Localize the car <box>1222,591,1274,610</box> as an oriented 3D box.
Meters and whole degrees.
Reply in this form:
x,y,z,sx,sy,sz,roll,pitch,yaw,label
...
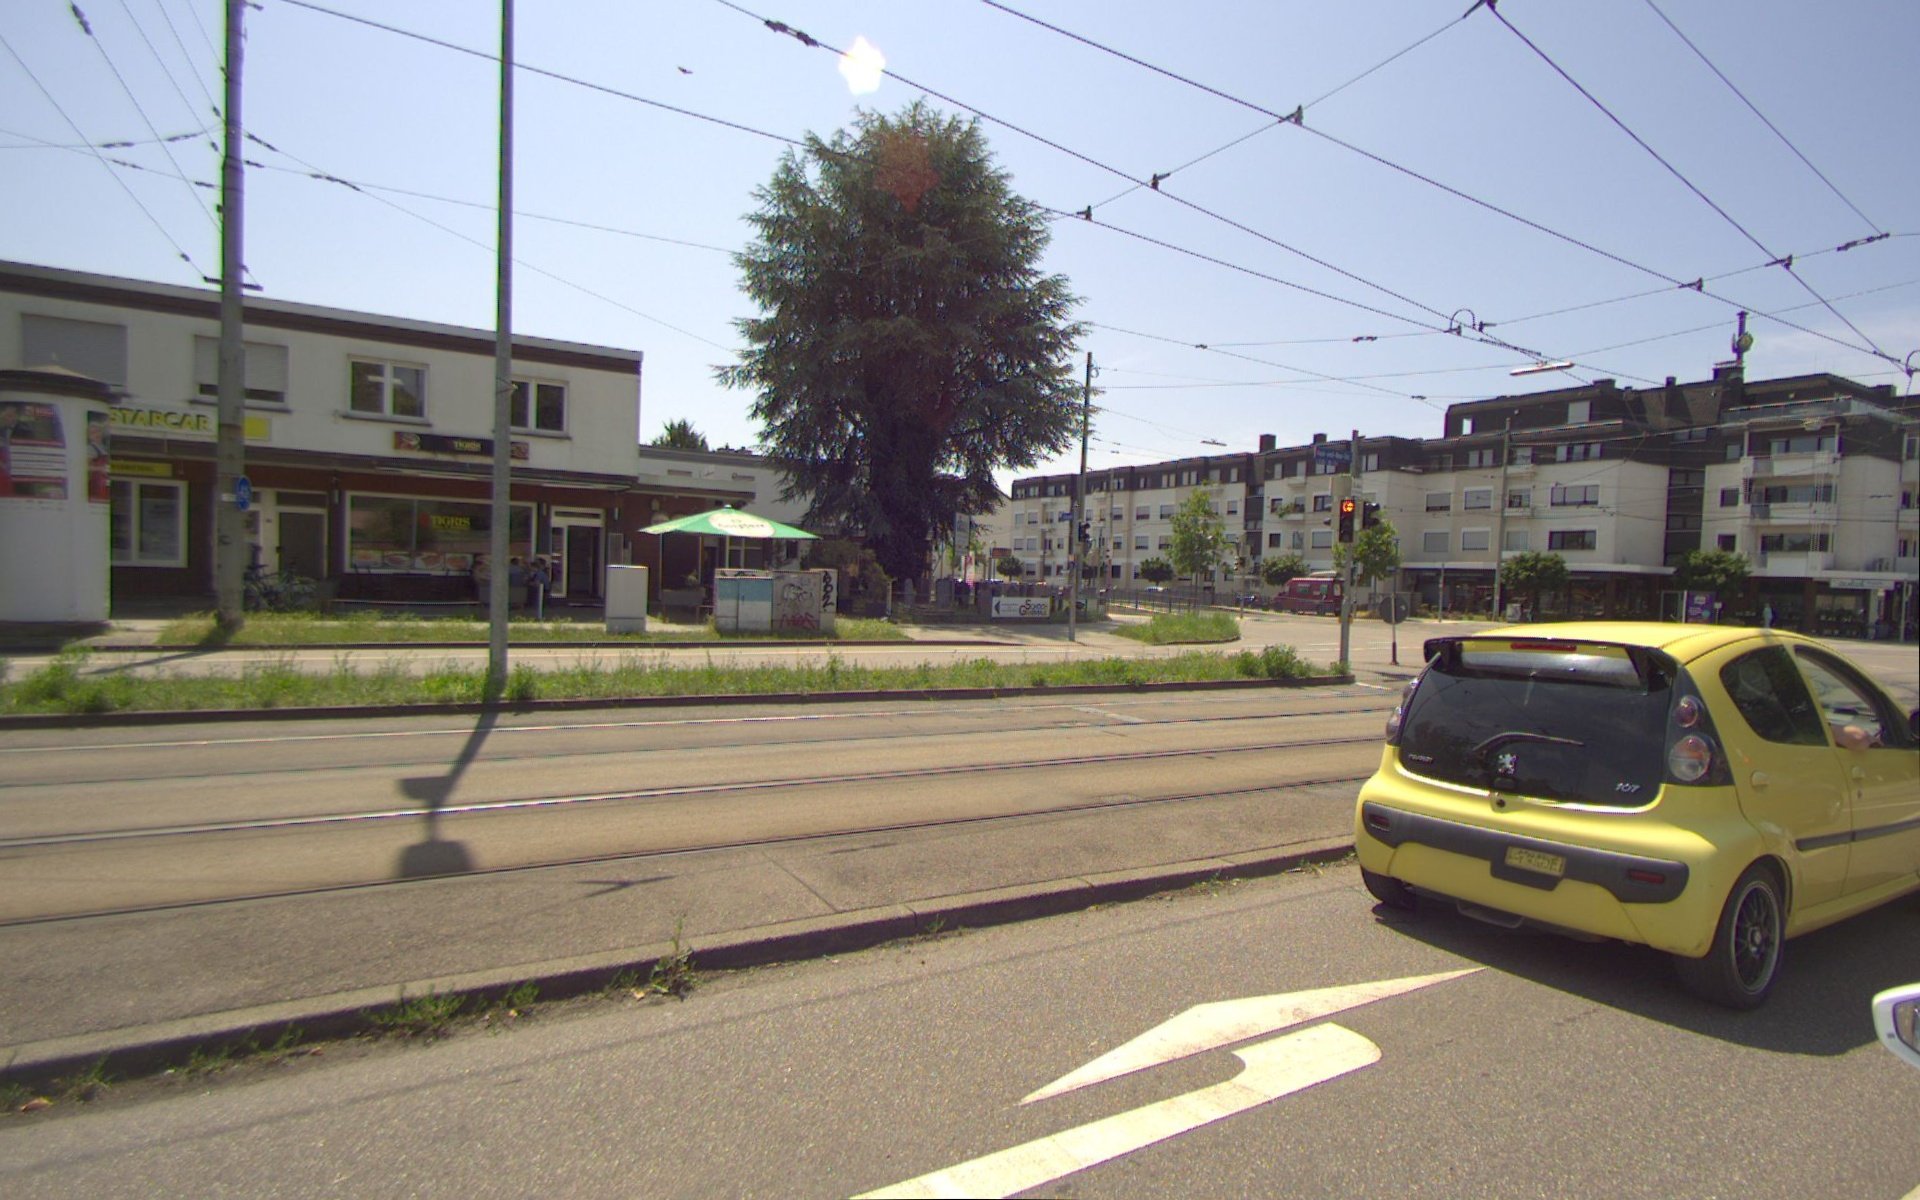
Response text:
x,y,z,sx,sy,sz,roll,pitch,yaw,label
20.990,0.050,73.384,1.571,1.235,3.553,1,1,-29,car

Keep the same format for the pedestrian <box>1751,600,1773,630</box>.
x,y,z,sx,sy,sz,roll,pitch,yaw,label
46.756,0.862,58.572,0.695,1.719,0.798,1,2,-39,pedestrian

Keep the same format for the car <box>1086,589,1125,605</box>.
x,y,z,sx,sy,sz,roll,pitch,yaw,label
12.673,-0.307,87.577,1.571,1.257,3.553,1,1,-29,car

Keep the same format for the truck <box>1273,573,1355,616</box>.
x,y,z,sx,sy,sz,roll,pitch,yaw,label
23.892,-0.402,68.064,2.161,2.734,5.002,1,1,-29,truck

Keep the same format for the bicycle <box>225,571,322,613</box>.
x,y,z,sx,sy,sz,roll,pitch,yaw,label
-15.450,-0.183,22.659,1.767,0.859,0.525,2,4,-31,bicycle

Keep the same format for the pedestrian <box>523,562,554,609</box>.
x,y,z,sx,sy,sz,roll,pitch,yaw,label
-11.144,-0.385,26.573,0.666,1.215,0.514,1,2,-30,pedestrian

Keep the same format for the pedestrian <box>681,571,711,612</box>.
x,y,z,sx,sy,sz,roll,pitch,yaw,label
-7.508,-0.250,28.558,0.666,1.142,0.514,1,2,-30,pedestrian

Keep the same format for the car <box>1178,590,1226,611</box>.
x,y,z,sx,sy,sz,roll,pitch,yaw,label
18.544,0.001,77.222,1.571,1.452,3.553,1,1,-29,car

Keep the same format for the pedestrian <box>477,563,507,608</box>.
x,y,z,sx,sy,sz,roll,pitch,yaw,label
-12.433,-0.387,26.676,0.666,1.179,0.514,1,2,-30,pedestrian

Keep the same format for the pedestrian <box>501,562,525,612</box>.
x,y,z,sx,sy,sz,roll,pitch,yaw,label
-11.419,-0.343,25.665,0.486,1.255,0.572,1,2,-31,pedestrian

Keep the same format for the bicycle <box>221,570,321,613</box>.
x,y,z,sx,sy,sz,roll,pitch,yaw,label
-15.176,-0.174,22.174,1.767,0.859,0.525,2,4,-31,bicycle

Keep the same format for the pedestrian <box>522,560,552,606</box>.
x,y,z,sx,sy,sz,roll,pitch,yaw,label
-11.444,-0.465,27.150,0.666,1.225,0.514,1,2,-30,pedestrian

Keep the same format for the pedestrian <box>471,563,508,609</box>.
x,y,z,sx,sy,sz,roll,pitch,yaw,label
-12.180,-0.365,26.011,0.801,1.142,0.561,1,2,-30,pedestrian

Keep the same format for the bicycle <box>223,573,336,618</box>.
x,y,z,sx,sy,sz,roll,pitch,yaw,label
-14.365,-0.088,21.269,1.936,0.859,0.599,2,4,-31,bicycle

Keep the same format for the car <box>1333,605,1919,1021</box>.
x,y,z,sx,sy,sz,roll,pitch,yaw,label
3.762,0.794,5.124,3.614,1.440,1.607,2,-1,-31,car
